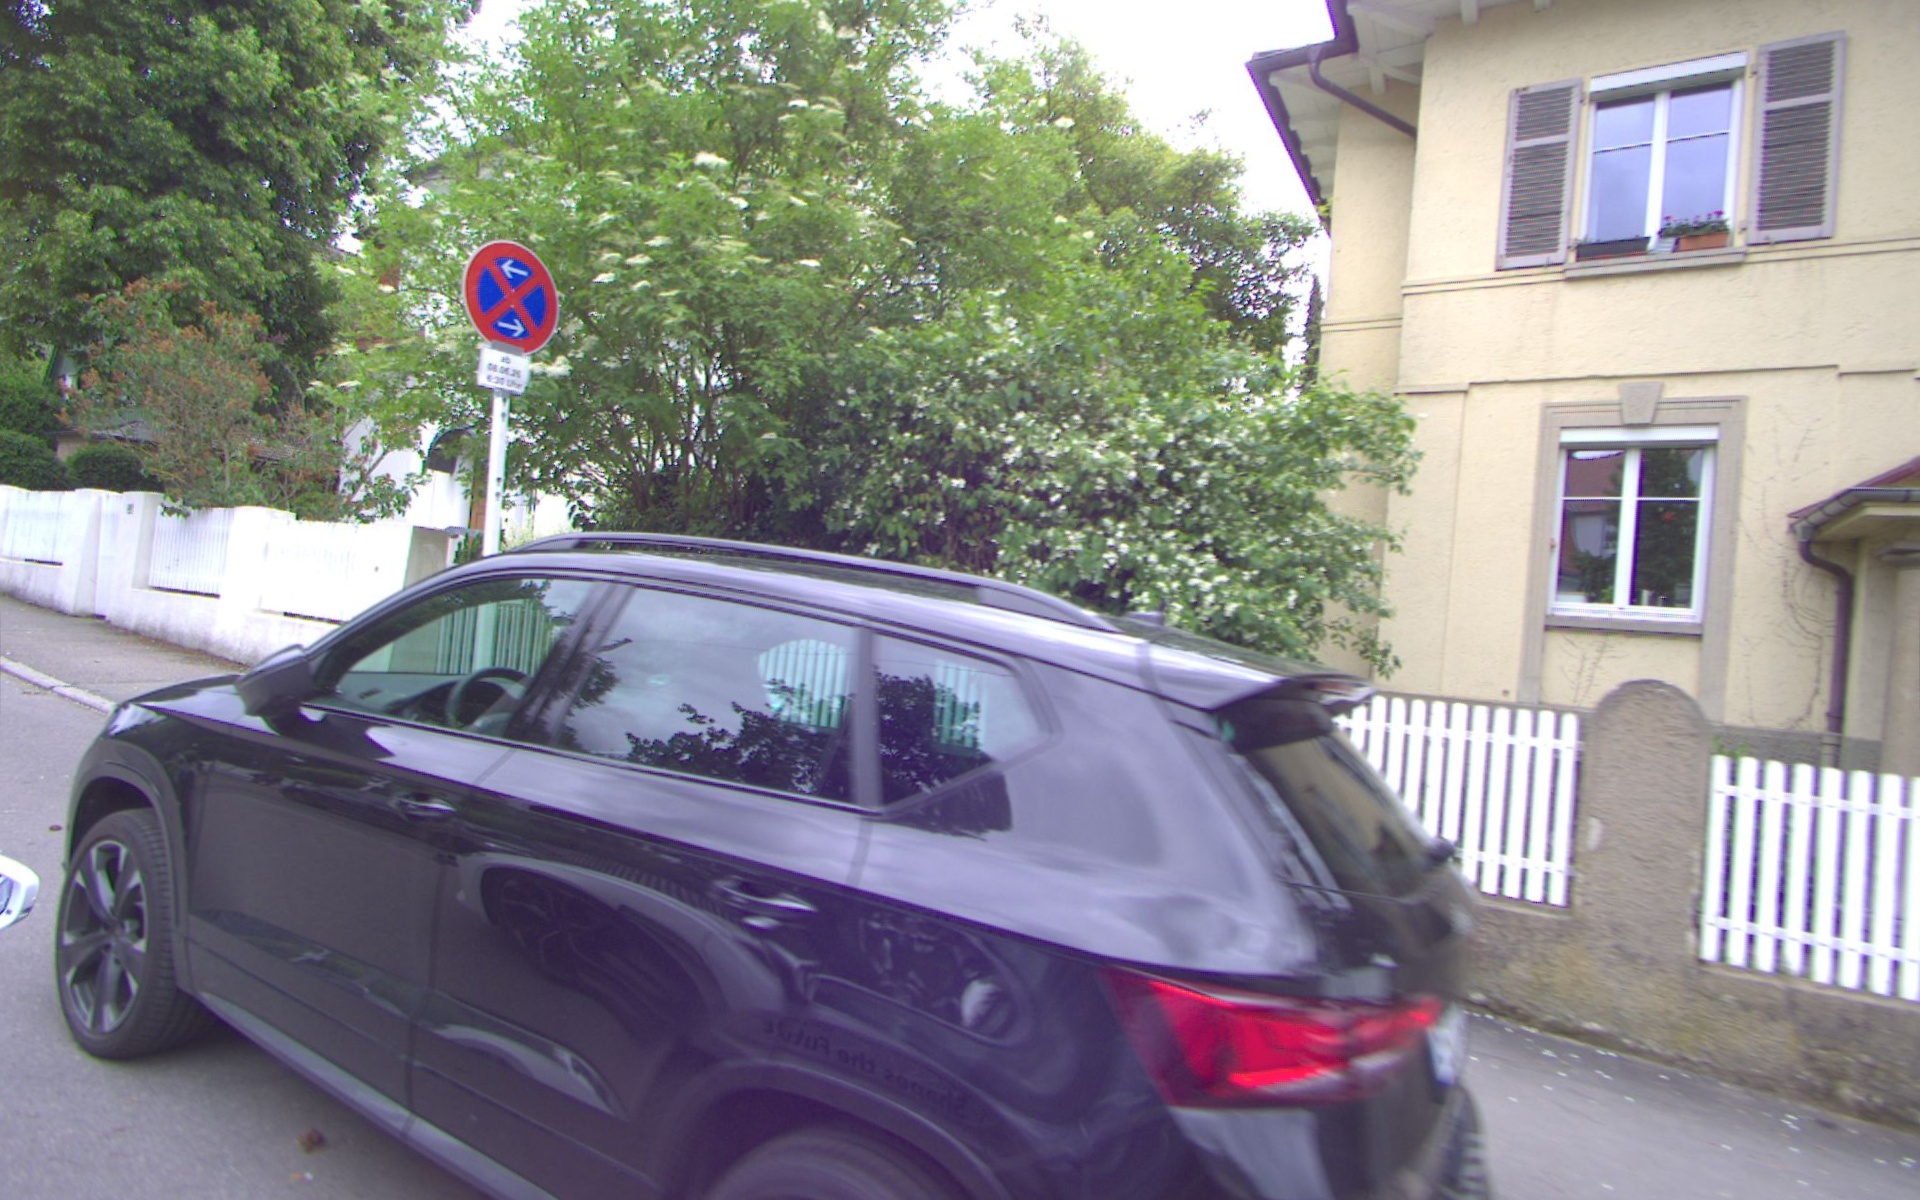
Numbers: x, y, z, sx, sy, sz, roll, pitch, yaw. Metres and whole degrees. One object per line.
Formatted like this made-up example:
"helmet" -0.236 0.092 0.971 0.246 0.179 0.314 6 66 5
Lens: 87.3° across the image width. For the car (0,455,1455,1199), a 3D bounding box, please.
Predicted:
"car" -0.948 0.636 2.895 4.007 1.625 1.755 6 -3 31
